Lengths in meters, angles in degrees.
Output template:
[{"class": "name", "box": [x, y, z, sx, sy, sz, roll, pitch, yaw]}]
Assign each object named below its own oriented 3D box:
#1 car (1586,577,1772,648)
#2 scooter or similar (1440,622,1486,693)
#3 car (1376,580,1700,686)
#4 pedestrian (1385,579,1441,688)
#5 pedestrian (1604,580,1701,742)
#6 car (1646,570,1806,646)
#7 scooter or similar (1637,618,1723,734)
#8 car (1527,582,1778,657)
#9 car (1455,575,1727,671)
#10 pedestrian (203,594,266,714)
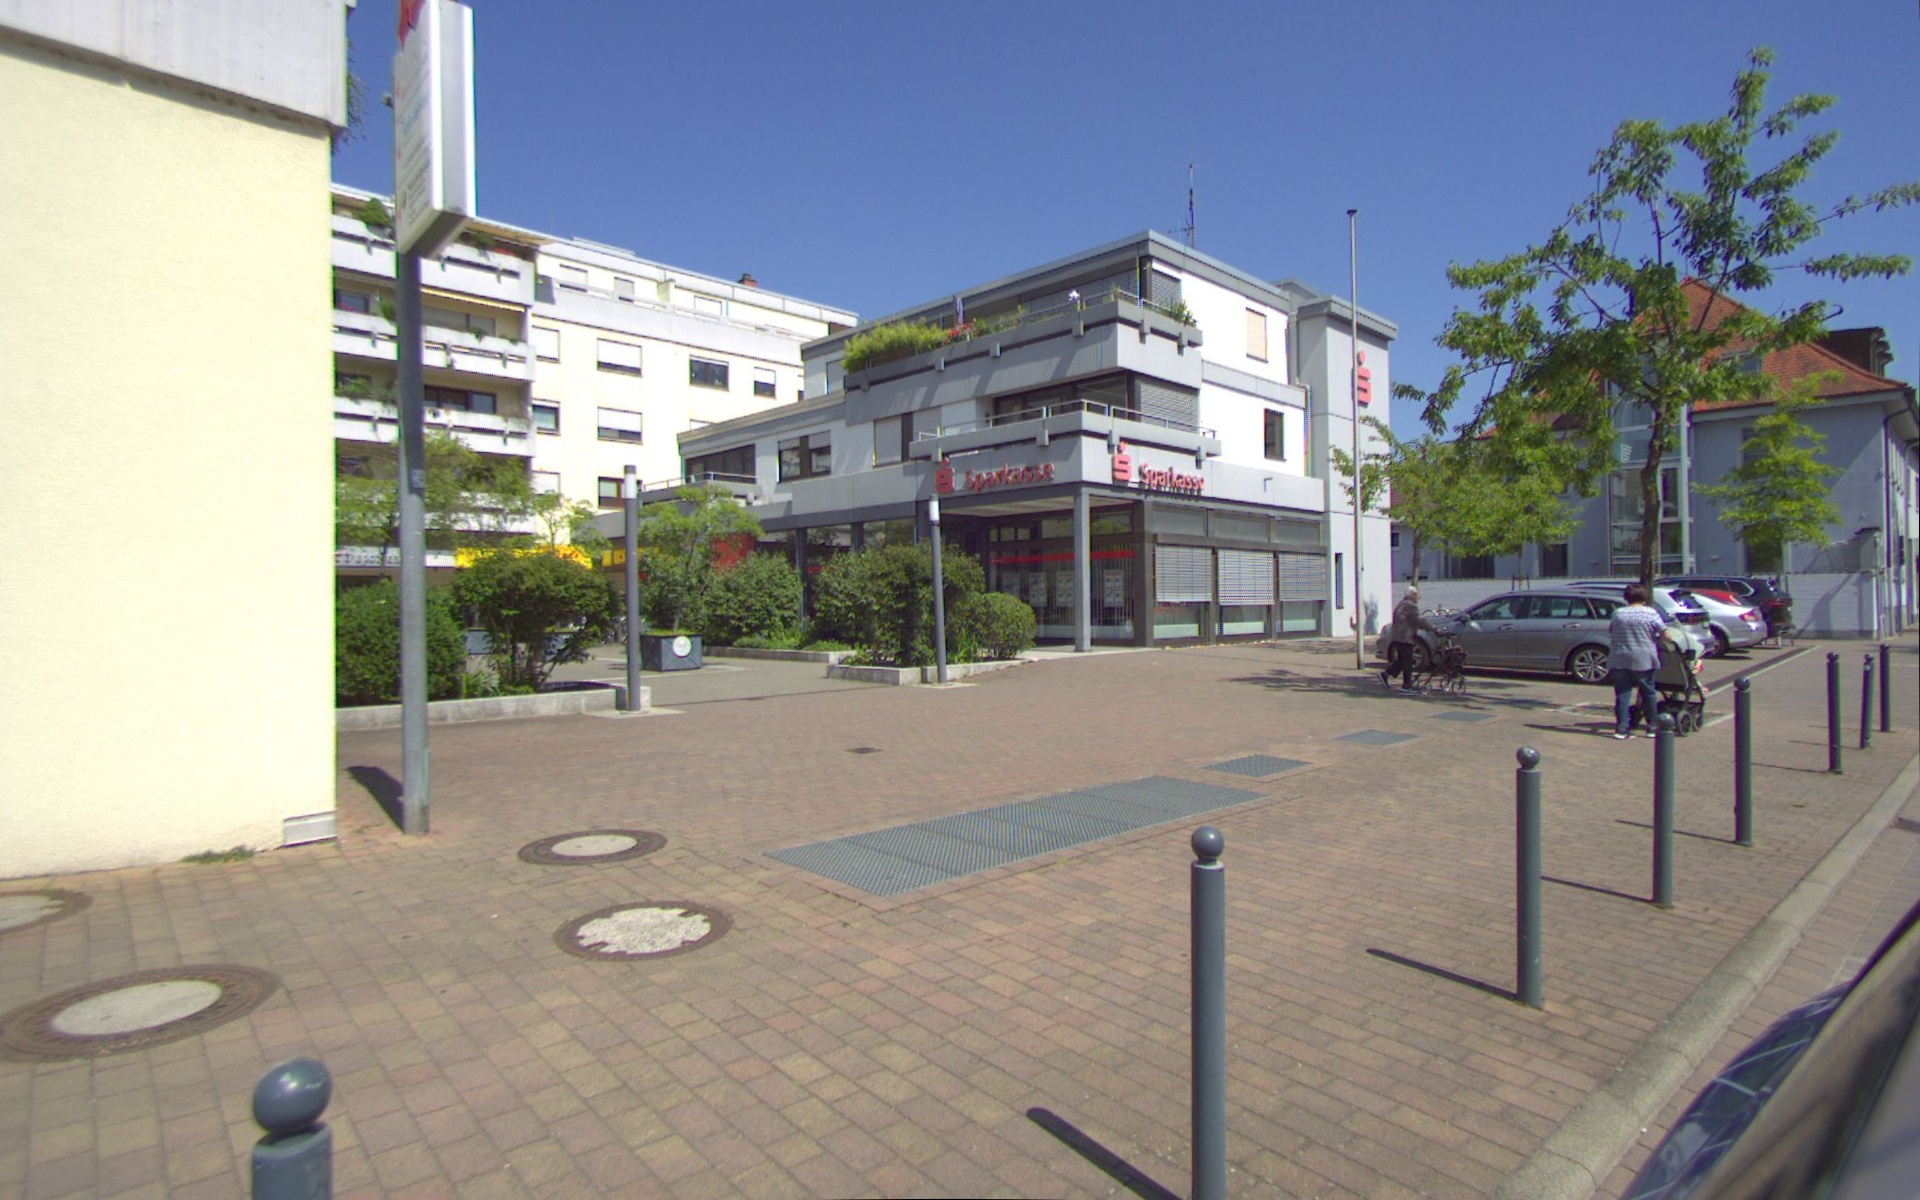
[{"class": "car", "box": [17.059, 0.267, 24.100, 3.421, 1.571, 1.467, 0, 0, 45]}, {"class": "scooter or similar", "box": [7.034, 0.794, 14.172, 0.541, 0.958, 0.532, 0, 0, 24]}, {"class": "car", "box": [9.462, 0.441, 16.829, 4.432, 1.484, 1.664, 2, 2, 44]}, {"class": "pedestrian", "box": [6.460, 0.459, 14.443, 0.716, 1.520, 0.527, 0, 0, 25]}, {"class": "pedestrian", "box": [6.945, 0.572, 10.142, 1.029, 1.535, 0.513, 0, 1, -39]}, {"class": "car", "box": [18.966, 0.152, 25.111, 3.032, 1.759, 1.324, 1, 1, 44]}, {"class": "scooter or similar", "box": [7.578, 0.772, 10.648, 0.892, 1.132, 0.506, 0, 1, -38]}, {"class": "car", "box": [15.233, 0.351, 22.402, 4.429, 1.460, 1.632, 1, 1, 42]}, {"class": "car", "box": [11.560, 0.332, 18.711, 4.033, 1.579, 1.686, 2, 1, 43]}, {"class": "pedestrian", "box": [-9.394, 0.671, 13.102, 0.594, 1.482, 0.794, 0, 0, -40]}]
